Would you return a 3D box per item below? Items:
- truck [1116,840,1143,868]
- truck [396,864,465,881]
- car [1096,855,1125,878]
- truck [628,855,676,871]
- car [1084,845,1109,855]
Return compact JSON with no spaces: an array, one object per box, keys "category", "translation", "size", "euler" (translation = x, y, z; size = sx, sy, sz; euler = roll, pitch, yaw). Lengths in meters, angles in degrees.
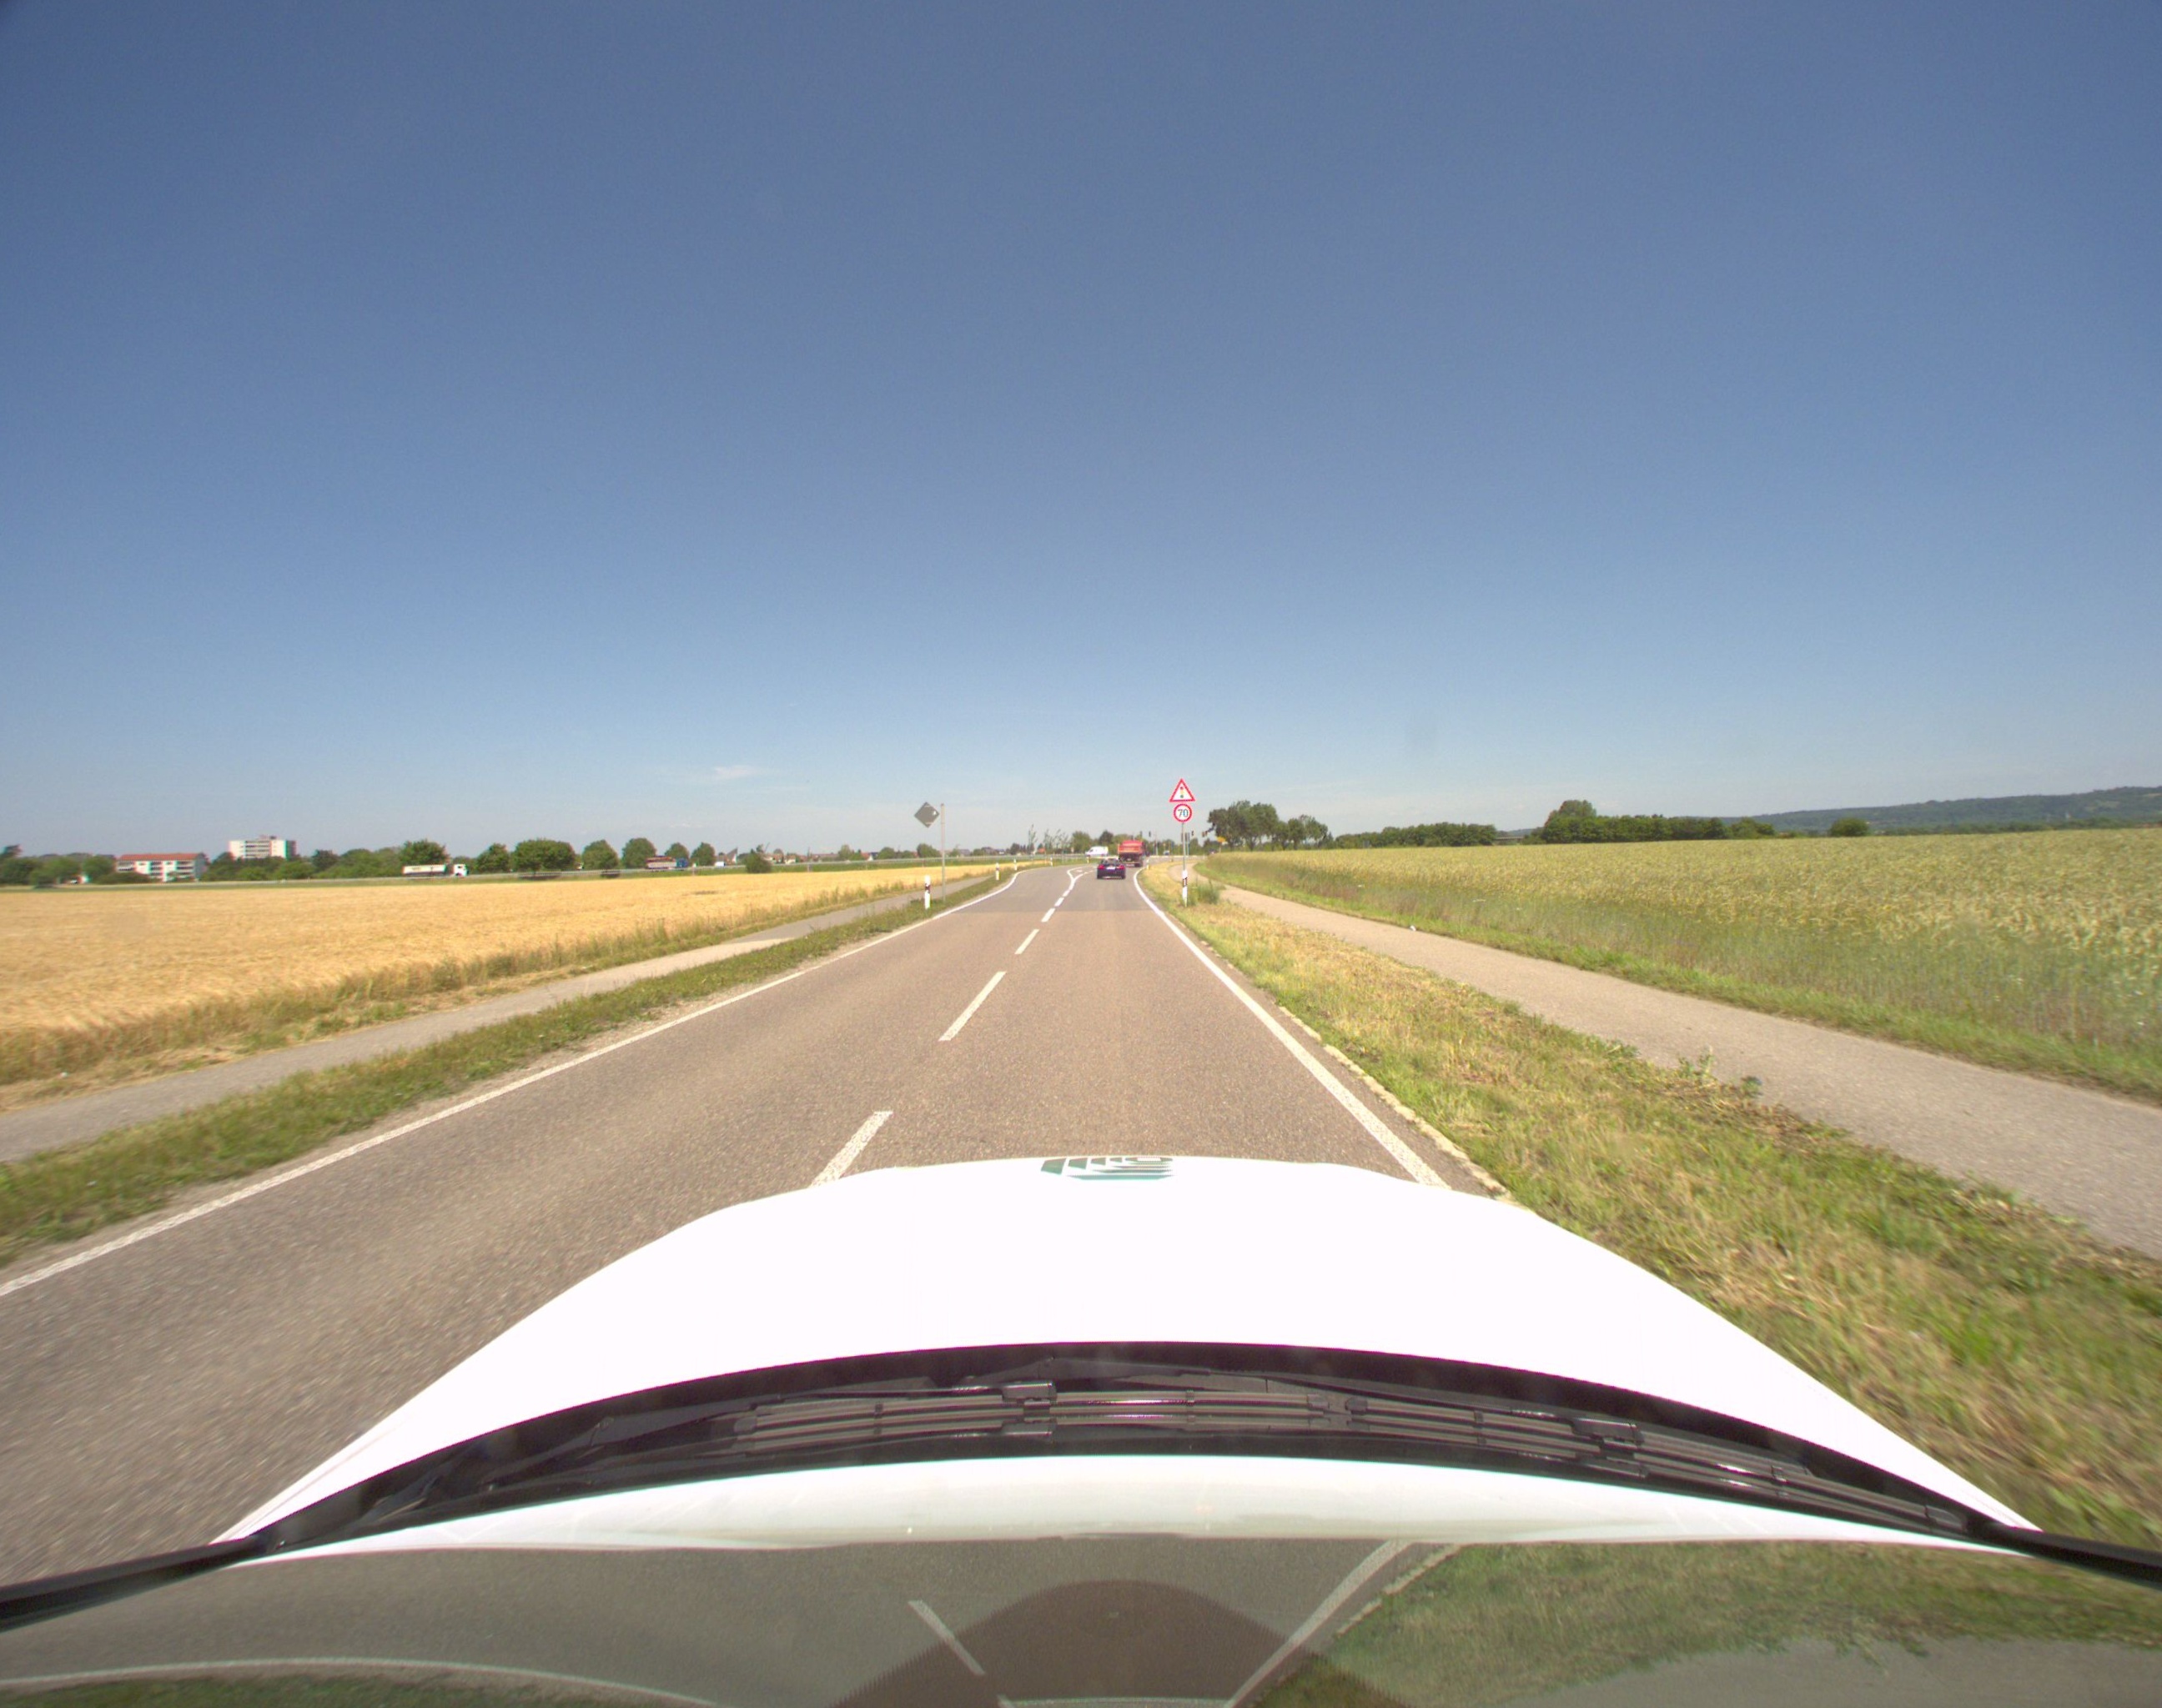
[{"category":"truck","translation":[5.670,0.052,94.109],"size":[2.700,3.053,8.178],"euler":[-1,-1,6]},{"category":"truck","translation":[-150.275,4.134,188.243],"size":[12.032,3.614,2.962],"euler":[-1,0,-21]},{"category":"car","translation":[1.808,0.775,51.152],"size":[1.741,1.376,3.680],"euler":[1,-1,1]},{"category":"truck","translation":[-105.730,2.209,200.838],"size":[10.080,3.793,2.617],"euler":[-1,0,-10]},{"category":"car","translation":[3.827,-1.109,204.653],"size":[5.872,2.421,2.257],"euler":[-1,0,16]}]
